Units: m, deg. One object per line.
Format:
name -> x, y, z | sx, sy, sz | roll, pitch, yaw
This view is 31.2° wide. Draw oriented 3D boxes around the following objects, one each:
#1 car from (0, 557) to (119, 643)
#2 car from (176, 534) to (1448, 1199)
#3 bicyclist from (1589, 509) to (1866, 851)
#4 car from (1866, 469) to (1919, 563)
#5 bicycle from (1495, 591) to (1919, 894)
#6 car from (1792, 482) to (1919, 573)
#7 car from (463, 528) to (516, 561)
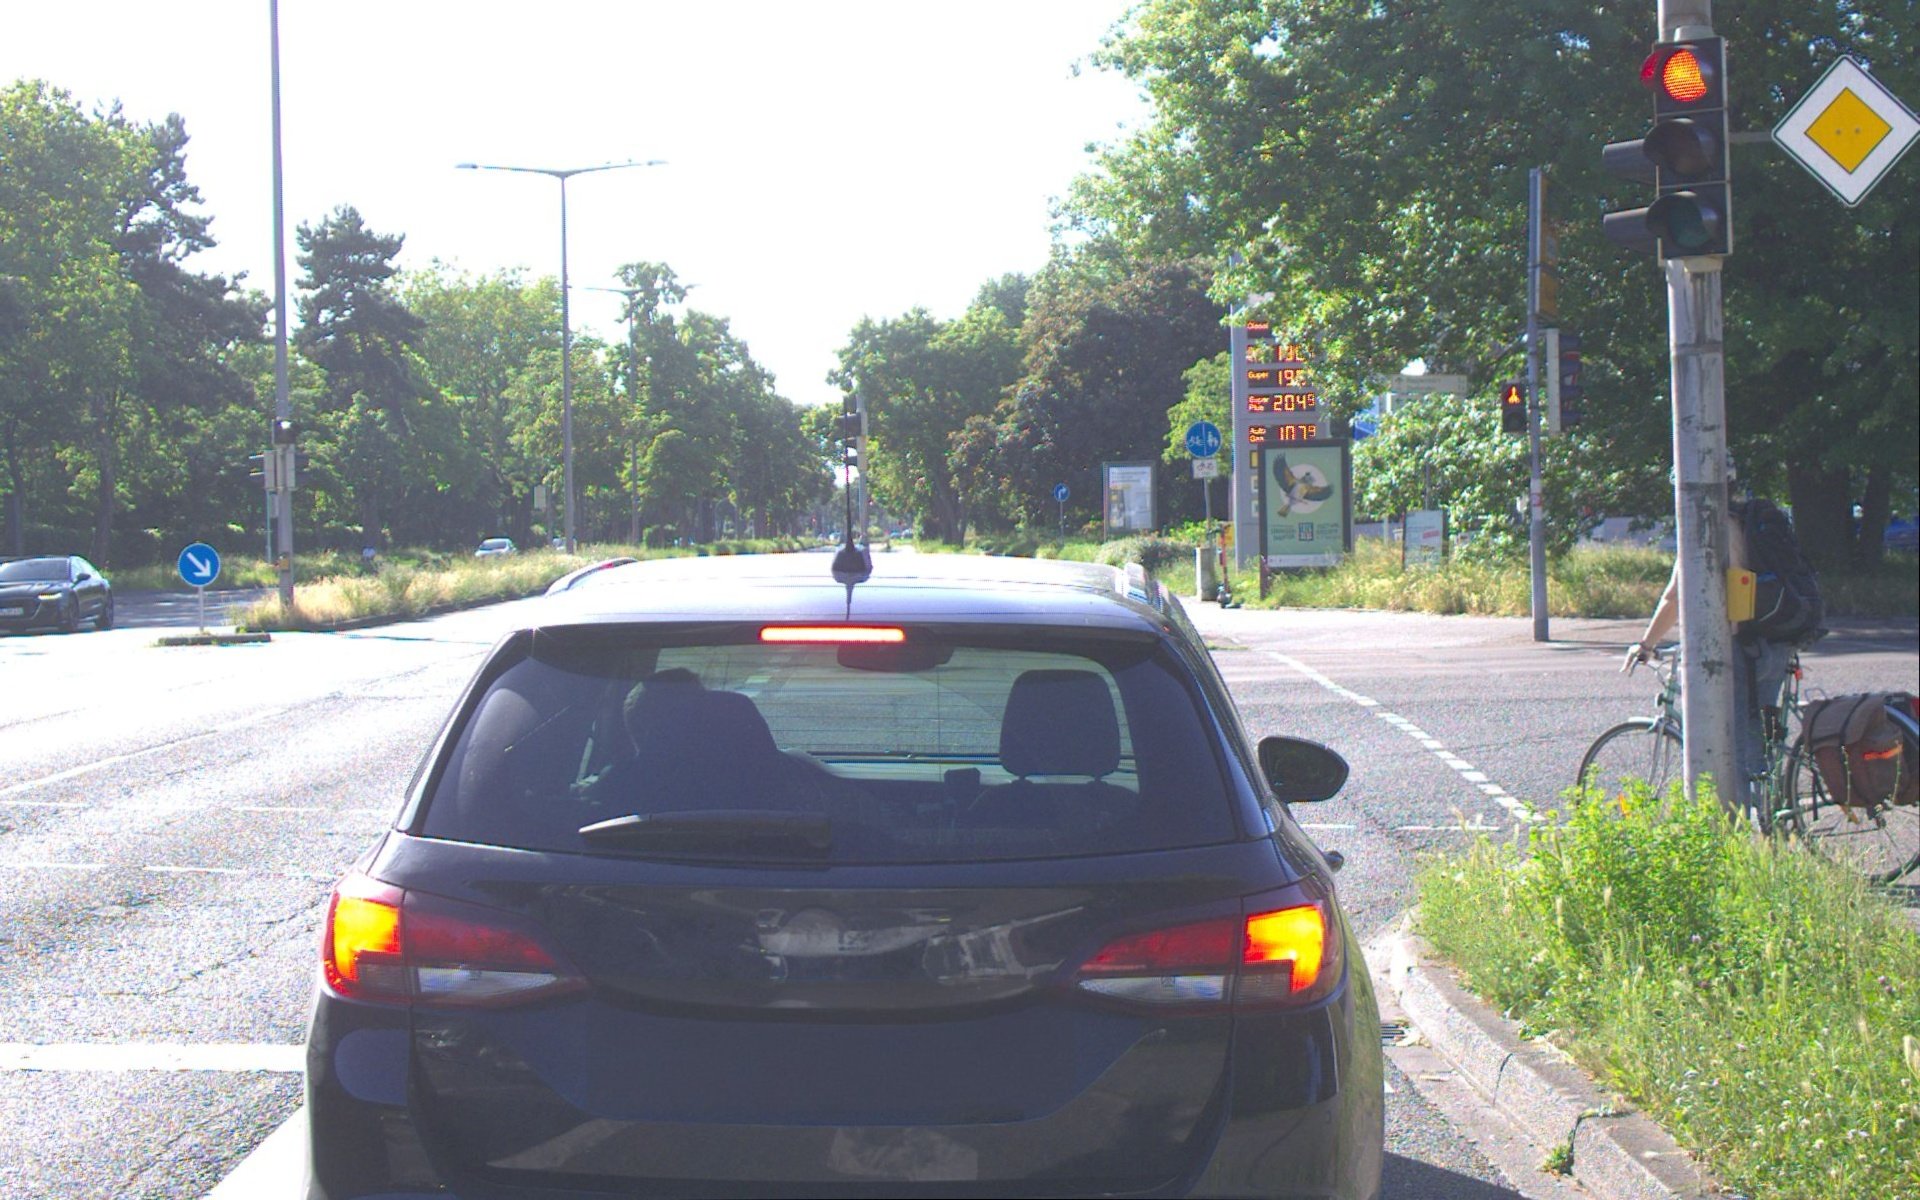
car -> -16.845, -0.020, 63.114 | 1.776, 1.458, 4.165 | -1, 1, -1
car -> -0.229, 0.631, 6.862 | 1.756, 1.490, 4.207 | 0, 1, -1
bicyclist -> 2.975, 0.310, 13.346 | 0.536, 1.272, 0.829 | -3, 0, -44
car -> 17.100, -1.426, 56.731 | 3.887, 1.512, 1.746 | -2, 1, -23
bicycle -> 2.983, 0.547, 13.348 | 0.536, 1.094, 1.775 | -3, 0, -44
car -> 16.624, -1.285, 59.816 | 3.887, 1.512, 1.746 | -2, 1, -23
car -> -22.767, -2.702, 166.462 | 1.993, 1.525, 4.000 | -2, 1, -1
